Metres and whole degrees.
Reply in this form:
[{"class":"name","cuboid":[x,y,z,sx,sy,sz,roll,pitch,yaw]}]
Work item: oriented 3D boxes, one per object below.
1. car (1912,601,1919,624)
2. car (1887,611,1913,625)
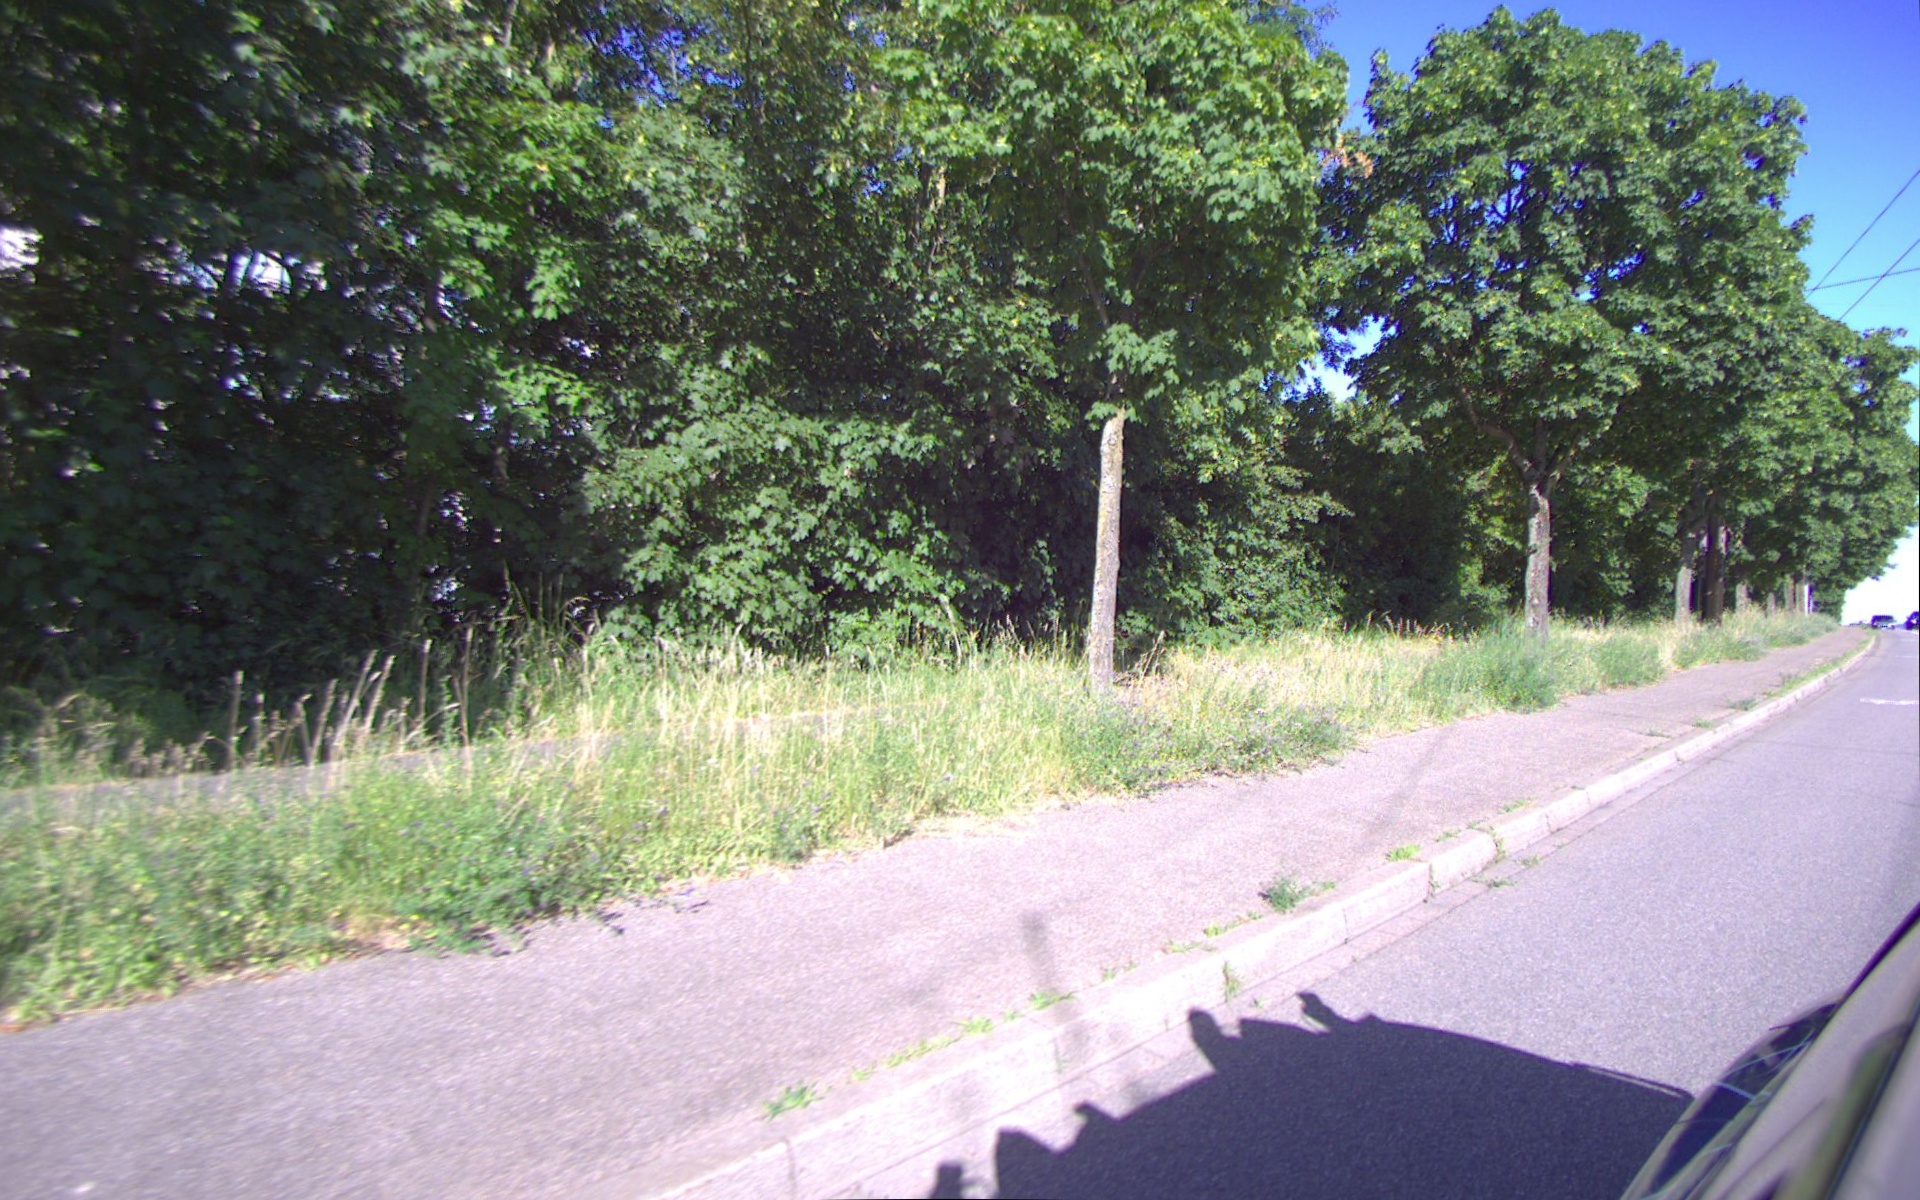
[{"class":"car","cuboid":[70.001,0.889,72.747,1.991,1.606,3.942,1,0,40]},{"class":"car","cuboid":[115.642,2.245,124.528,1.989,1.606,3.947,1,0,37]}]
